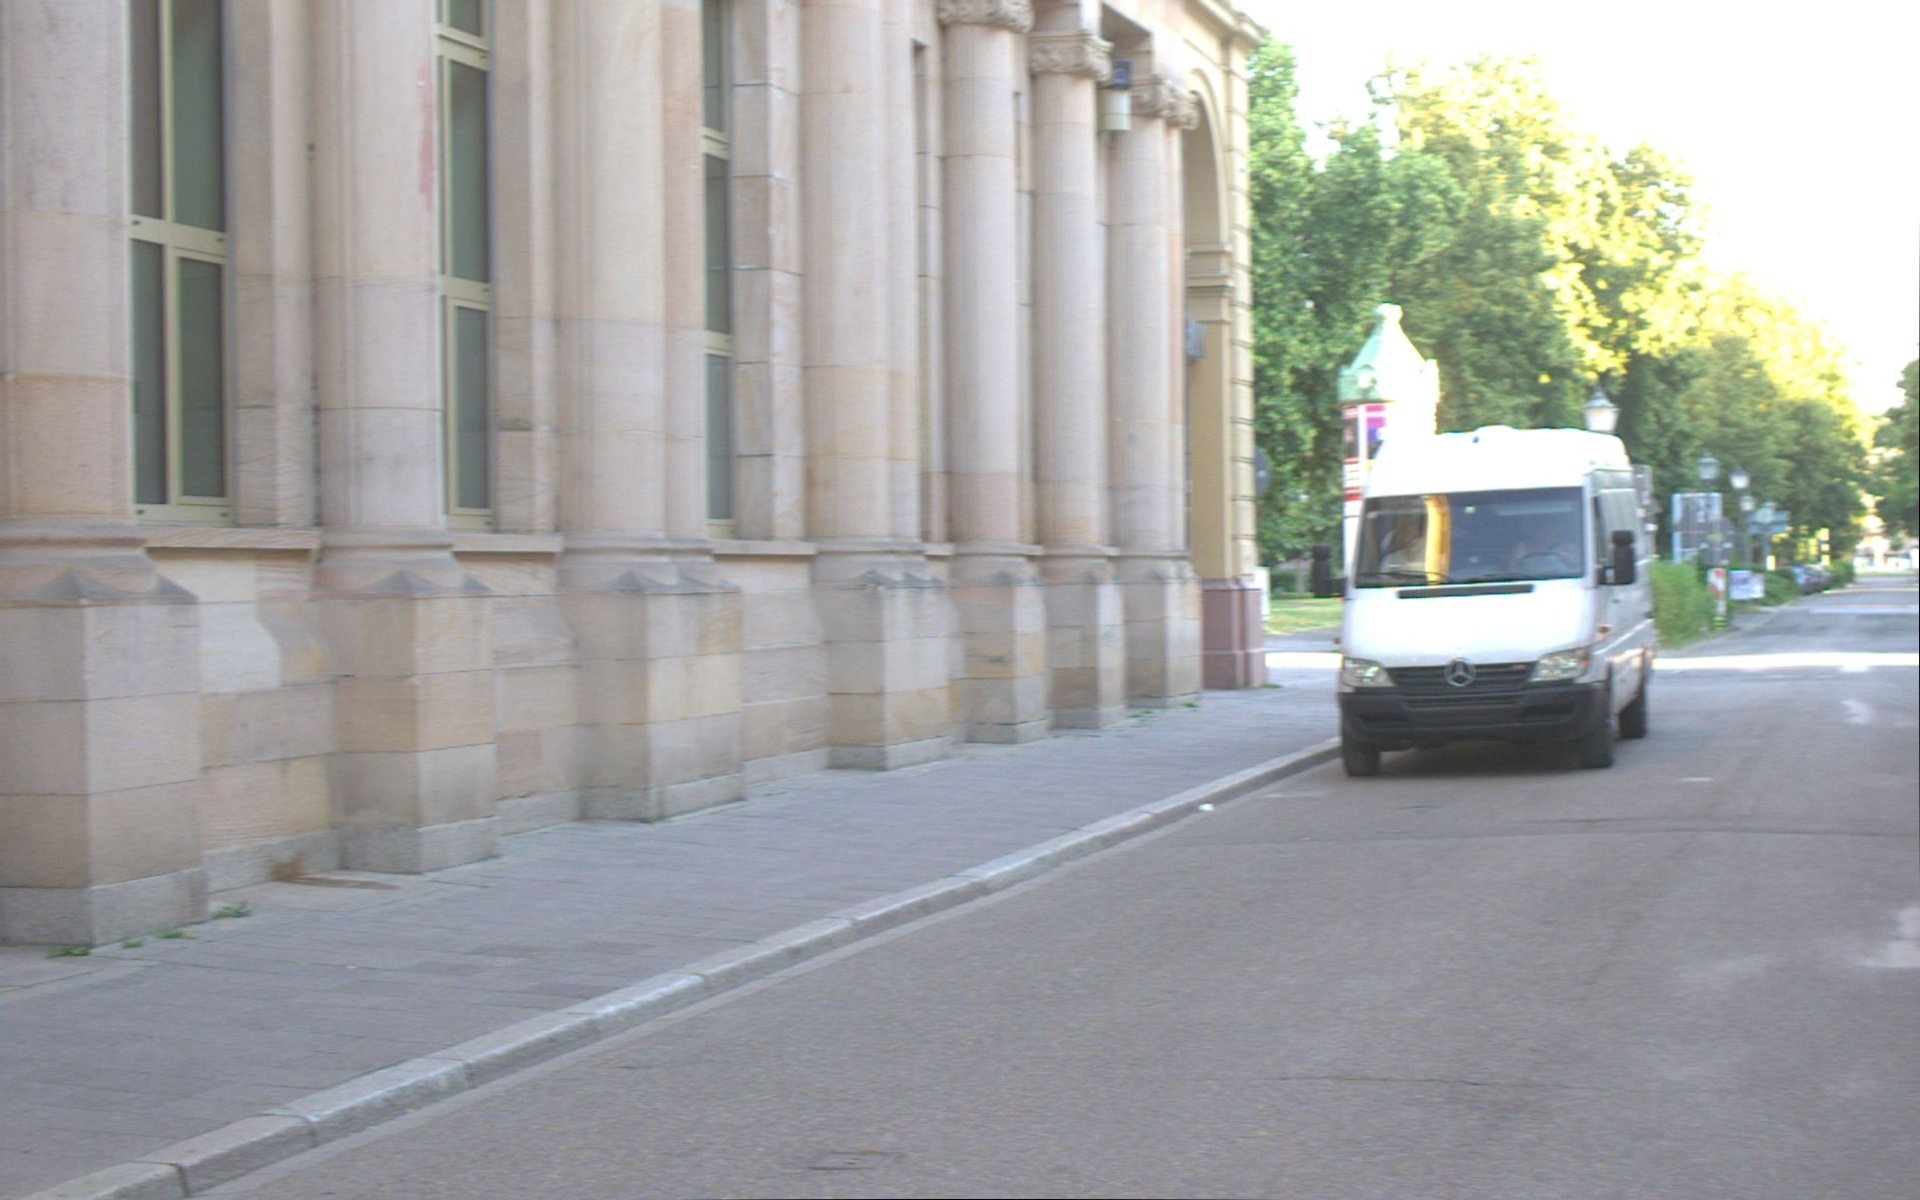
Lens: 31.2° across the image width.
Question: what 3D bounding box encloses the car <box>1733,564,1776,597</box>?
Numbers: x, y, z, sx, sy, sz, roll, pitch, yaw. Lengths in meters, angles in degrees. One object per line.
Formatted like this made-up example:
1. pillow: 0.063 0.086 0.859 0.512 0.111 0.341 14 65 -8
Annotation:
1. car: 30.304 -0.761 131.098 1.469 1.251 3.676 0 1 15

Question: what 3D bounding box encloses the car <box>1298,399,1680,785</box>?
1. car: 4.253 -0.087 26.602 1.997 2.504 6.465 -4 0 16

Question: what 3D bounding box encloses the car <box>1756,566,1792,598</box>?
1. car: 36.879 -0.835 155.698 1.469 1.399 3.676 0 1 15
